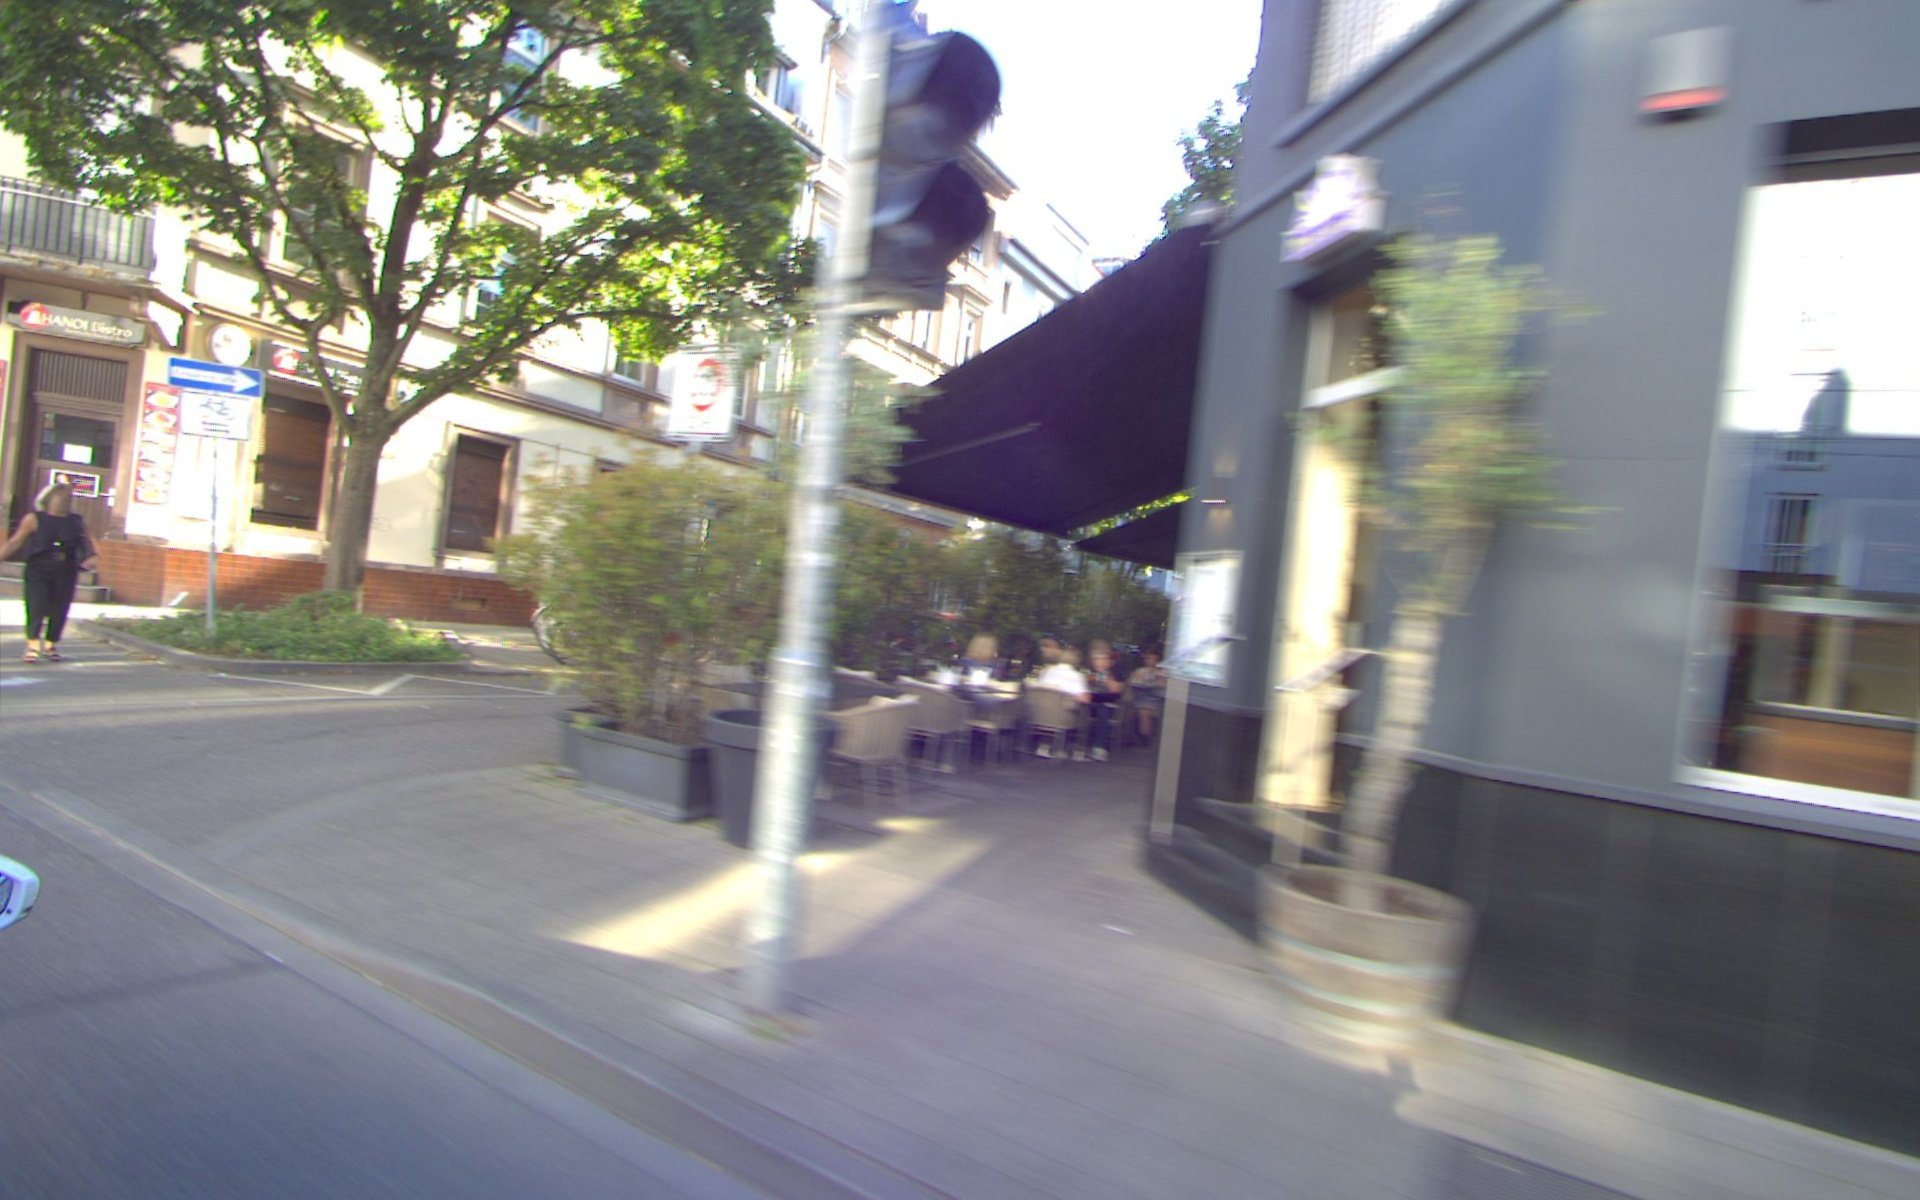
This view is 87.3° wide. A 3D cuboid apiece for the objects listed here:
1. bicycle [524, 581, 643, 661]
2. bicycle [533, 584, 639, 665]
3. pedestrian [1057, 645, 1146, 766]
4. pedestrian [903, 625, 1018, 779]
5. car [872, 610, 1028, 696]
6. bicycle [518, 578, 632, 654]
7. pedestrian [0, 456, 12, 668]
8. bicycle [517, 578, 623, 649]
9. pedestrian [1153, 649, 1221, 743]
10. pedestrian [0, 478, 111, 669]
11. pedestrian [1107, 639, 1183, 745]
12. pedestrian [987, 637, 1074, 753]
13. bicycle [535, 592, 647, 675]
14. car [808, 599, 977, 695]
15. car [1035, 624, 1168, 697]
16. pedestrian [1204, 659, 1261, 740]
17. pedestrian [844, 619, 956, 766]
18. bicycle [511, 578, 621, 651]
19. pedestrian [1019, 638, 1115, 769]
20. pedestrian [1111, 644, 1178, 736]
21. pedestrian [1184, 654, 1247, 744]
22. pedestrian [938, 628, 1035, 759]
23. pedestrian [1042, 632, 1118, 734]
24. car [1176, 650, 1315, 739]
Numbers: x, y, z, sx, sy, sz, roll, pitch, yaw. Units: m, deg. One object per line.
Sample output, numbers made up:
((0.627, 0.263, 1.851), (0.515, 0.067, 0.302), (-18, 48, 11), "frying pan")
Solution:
((-5.804, 0.334, 15.538), (1.598, 1.027, 0.455), (8, 1, -25), "bicycle")
((-5.514, 0.368, 14.849), (1.311, 1.027, 0.454), (8, 0, -32), "bicycle")
((1.567, 1.148, 11.094), (0.639, 1.218, 0.649), (7, 0, 31), "pedestrian")
((0.012, 0.878, 8.806), (0.639, 1.218, 0.649), (7, 0, 31), "pedestrian")
((-0.339, 1.208, 24.105), (1.711, 1.481, 4.050), (9, -1, -32), "car")
((-6.233, 0.267, 16.308), (1.598, 1.027, 0.455), (8, 1, -25), "bicycle")
((-8.579, -0.362, 8.385), (0.759, 1.798, 0.714), (7, 3, 28), "pedestrian")
((-6.766, 0.238, 17.479), (1.598, 1.027, 0.455), (8, 1, -25), "bicycle")
((3.331, 1.397, 14.747), (0.639, 1.277, 0.747), (7, 0, 31), "pedestrian")
((-8.338, -0.251, 9.095), (0.759, 1.624, 0.714), (7, 3, 28), "pedestrian")
((2.449, 1.205, 13.282), (0.639, 1.277, 0.747), (7, 0, 31), "pedestrian")
((0.810, 1.074, 11.493), (0.639, 1.218, 0.649), (7, 0, 31), "pedestrian")
((-5.192, 0.484, 14.199), (1.315, 1.027, 0.453), (8, 0, -40), "bicycle")
((-1.544, 0.939, 21.382), (1.711, 1.481, 4.050), (9, -1, -32), "car")
((4.314, 1.836, 31.289), (1.711, 1.682, 4.050), (9, -1, -32), "car")
((4.679, 1.705, 17.277), (0.639, 1.277, 0.747), (7, 0, 31), "pedestrian")
((-0.539, 0.827, 9.171), (0.639, 1.218, 0.649), (7, 0, 31), "pedestrian")
((-6.631, 0.251, 16.952), (1.598, 1.027, 0.455), (8, 1, -25), "bicycle")
((1.100, 1.044, 10.273), (0.639, 1.218, 0.649), (7, 0, 31), "pedestrian")
((2.778, 1.346, 15.107), (0.639, 1.277, 0.747), (7, 0, 31), "pedestrian")
((3.963, 1.522, 15.591), (0.639, 1.277, 0.747), (7, 0, 31), "pedestrian")
((0.276, 0.940, 10.282), (0.639, 1.218, 0.649), (7, 0, 31), "pedestrian")
((1.630, 1.120, 13.629), (0.639, 1.277, 0.747), (7, 0, 31), "pedestrian")
((6.016, 1.943, 20.889), (1.847, 1.481, 3.996), (5, -2, 29), "car")
